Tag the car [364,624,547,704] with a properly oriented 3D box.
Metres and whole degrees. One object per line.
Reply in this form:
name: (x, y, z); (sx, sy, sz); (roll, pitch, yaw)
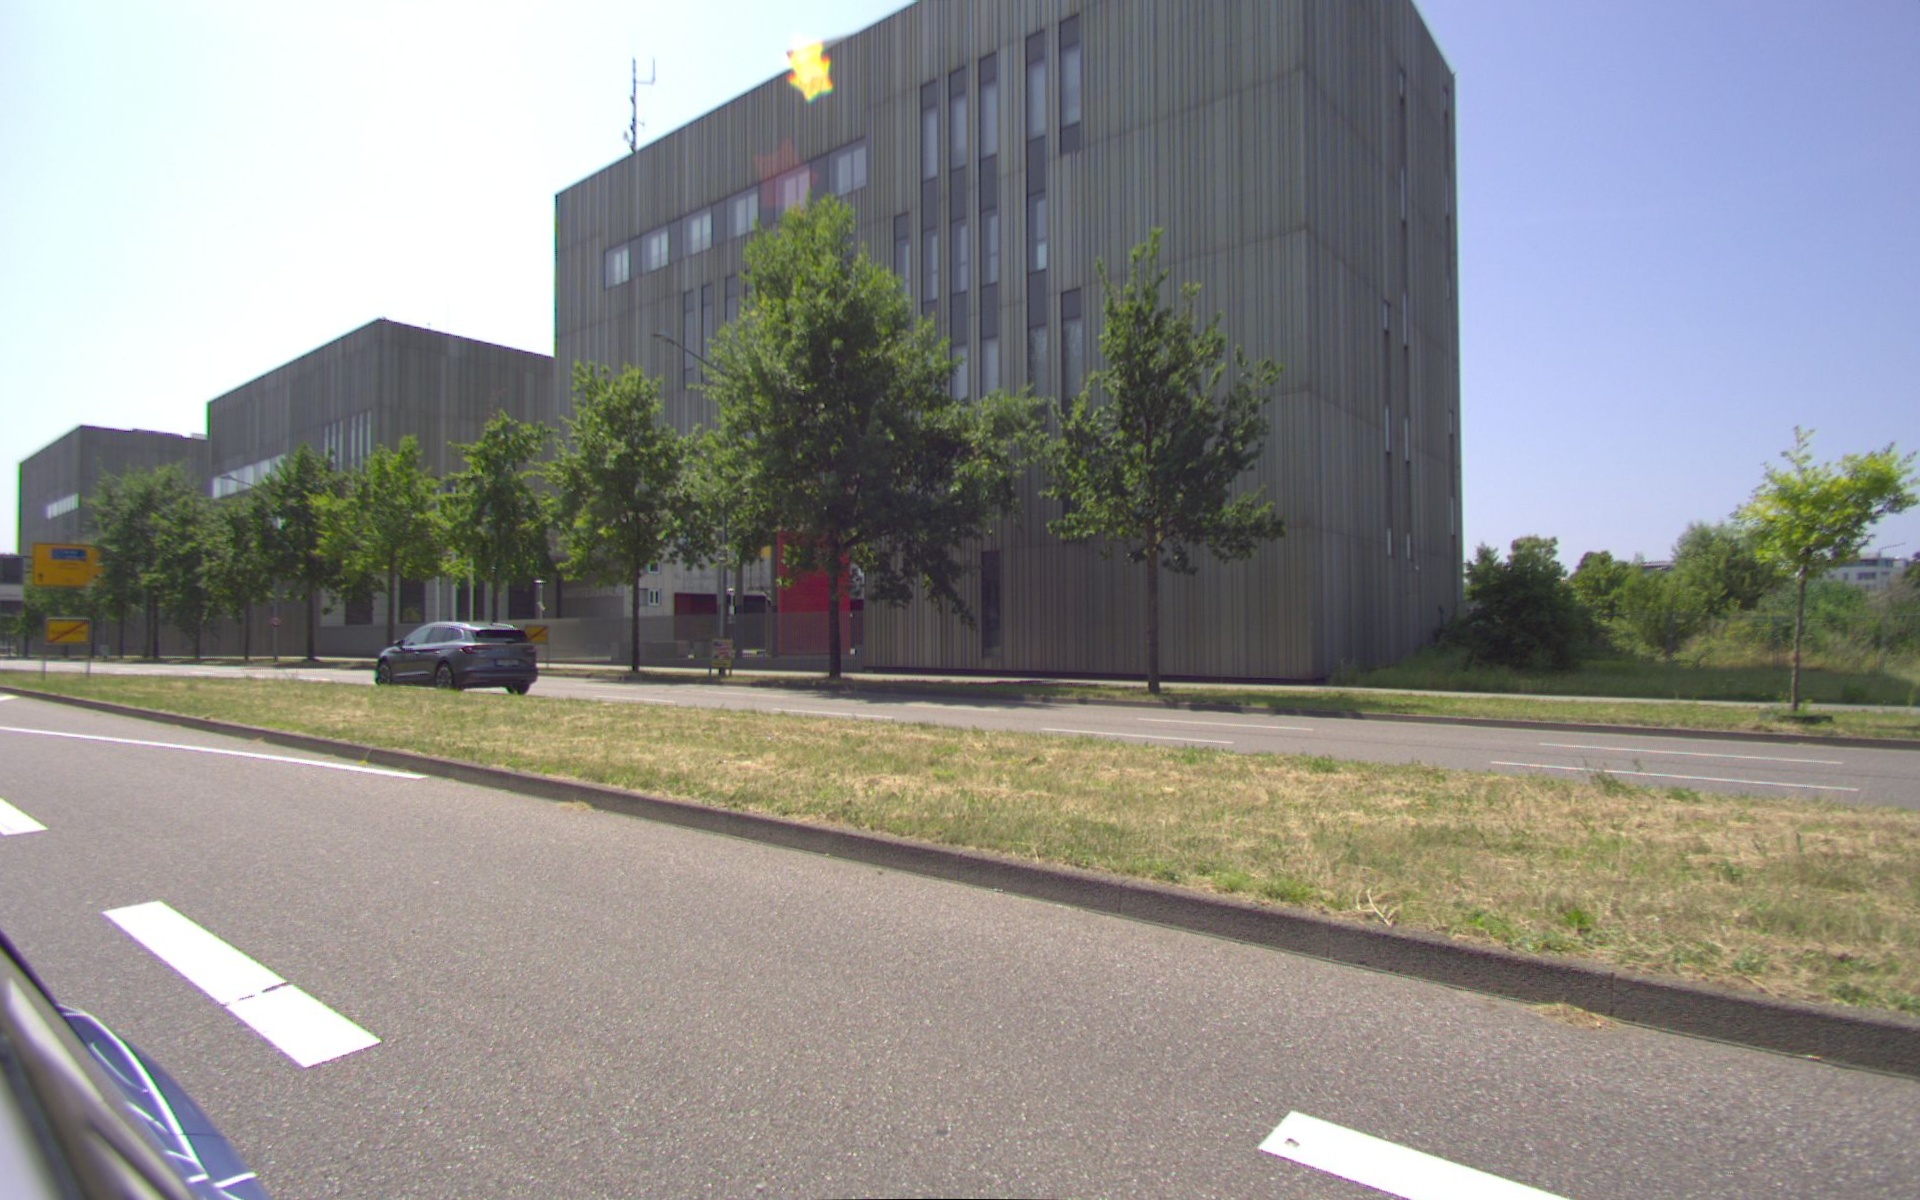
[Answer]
car: (-11.353, 1.384, 22.651); (4.527, 1.623, 1.875); (-2, -2, 37)
